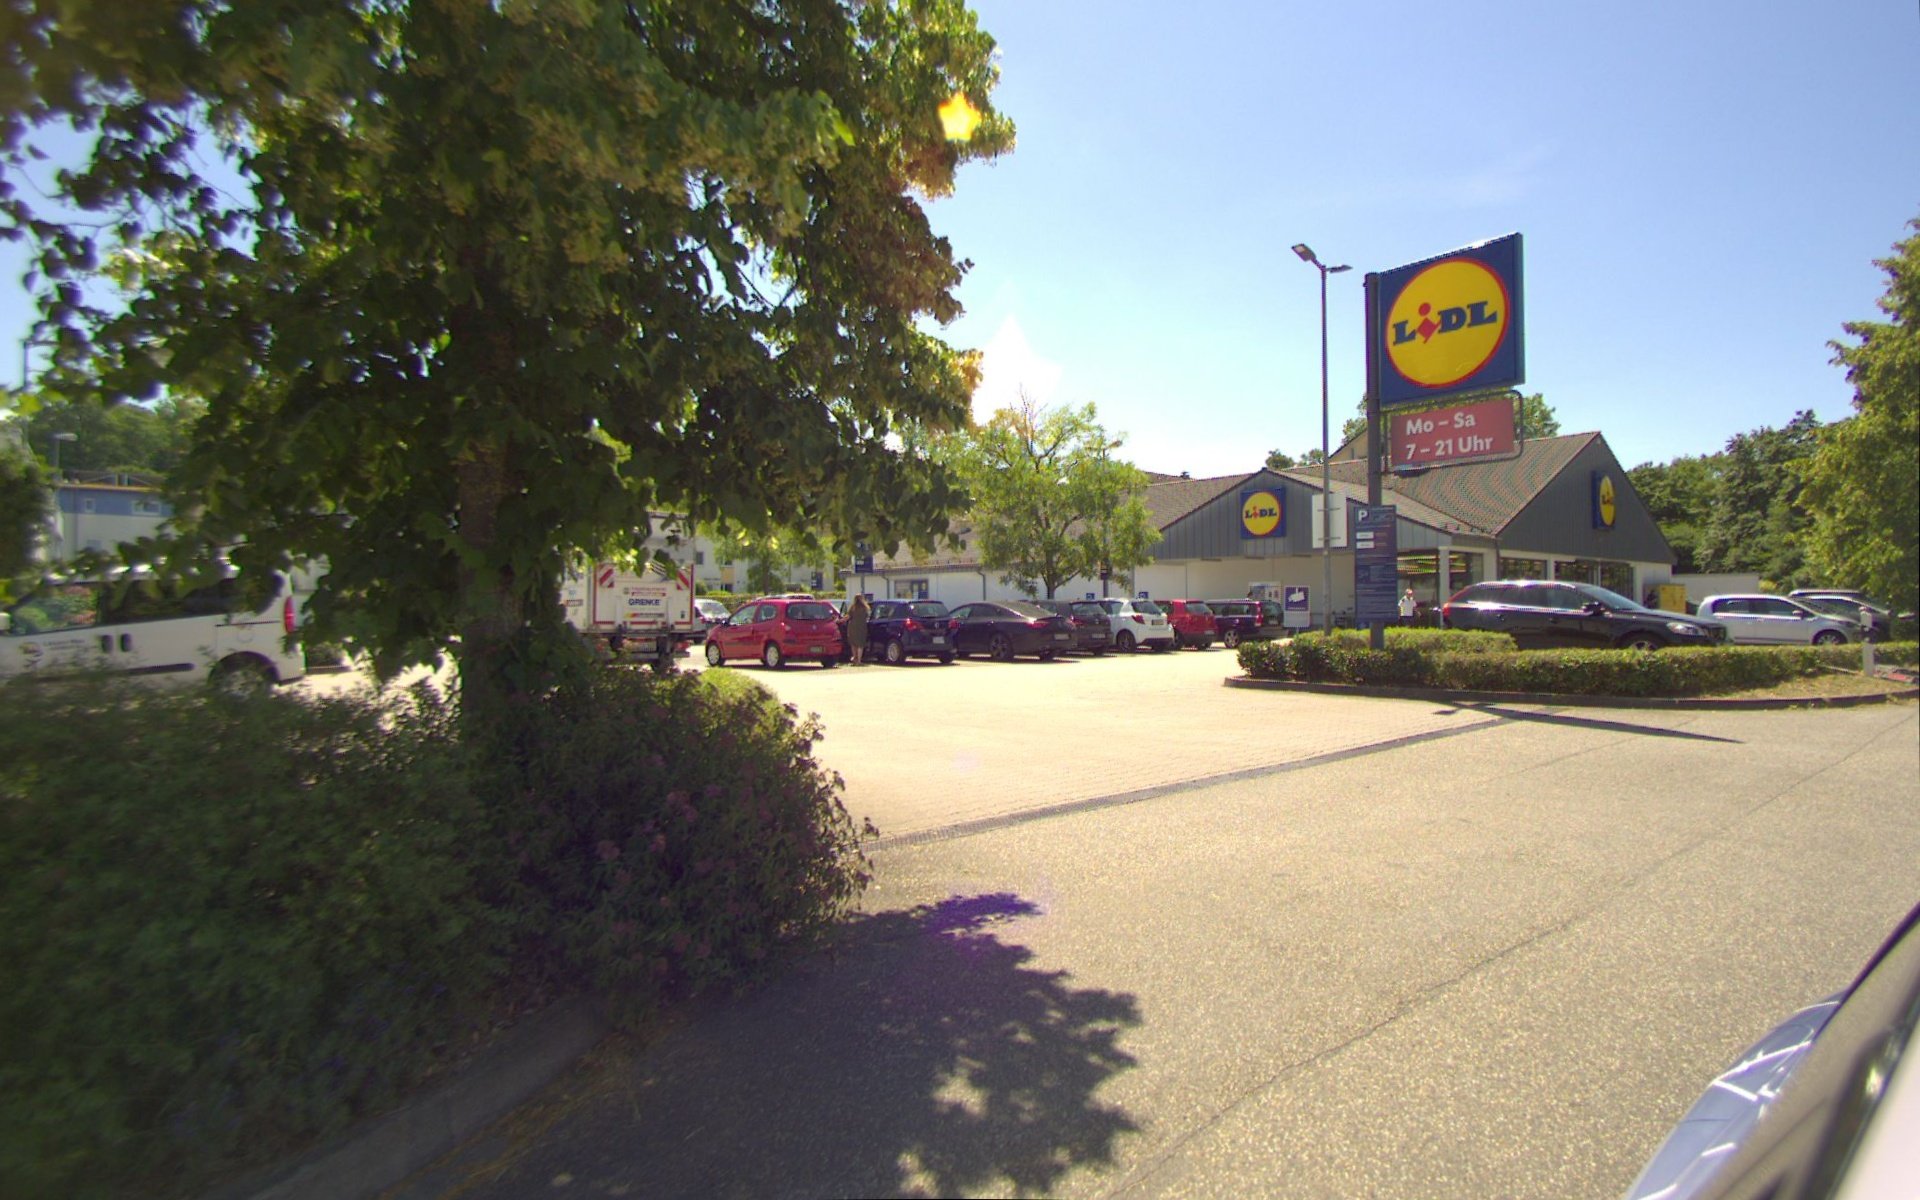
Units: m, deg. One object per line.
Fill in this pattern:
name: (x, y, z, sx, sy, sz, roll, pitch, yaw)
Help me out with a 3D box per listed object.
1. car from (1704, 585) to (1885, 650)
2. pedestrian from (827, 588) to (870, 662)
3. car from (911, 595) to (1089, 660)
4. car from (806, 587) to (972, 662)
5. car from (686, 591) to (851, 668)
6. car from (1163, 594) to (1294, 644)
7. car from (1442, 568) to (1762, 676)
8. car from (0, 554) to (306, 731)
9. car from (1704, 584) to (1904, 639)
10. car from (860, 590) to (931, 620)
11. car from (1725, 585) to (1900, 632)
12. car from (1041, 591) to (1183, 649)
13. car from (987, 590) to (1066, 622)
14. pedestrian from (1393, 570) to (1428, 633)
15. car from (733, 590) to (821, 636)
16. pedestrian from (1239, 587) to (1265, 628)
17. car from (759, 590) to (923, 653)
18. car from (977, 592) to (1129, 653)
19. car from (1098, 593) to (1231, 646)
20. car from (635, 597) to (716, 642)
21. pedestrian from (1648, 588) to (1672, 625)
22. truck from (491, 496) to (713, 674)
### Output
car: (21.260, 0.406, 25.869, 1.555, 1.525, 3.402, 1, 0, -42)
pedestrian: (-2.503, 0.549, 22.646, 0.694, 1.612, 0.679, 0, 0, -39)
car: (0.880, 0.598, 24.527, 1.870, 1.409, 4.247, 0, 1, -43)
car: (-1.726, 0.535, 23.643, 1.777, 1.583, 4.025, -1, 0, -42)
car: (-4.303, 0.613, 22.409, 3.987, 1.551, 1.625, -1, -1, 45)
car: (8.205, 0.554, 31.117, 1.642, 1.435, 3.603, 0, -1, -40)
car: (11.371, 0.343, 18.231, 1.859, 1.689, 4.526, 0, 0, -37)
car: (-10.448, 0.451, 12.103, 4.187, 1.914, 1.706, -1, 0, -44)
car: (24.429, 0.295, 29.411, 1.779, 1.499, 4.315, 0, 0, -43)
car: (-3.850, 0.261, 60.554, 3.935, 1.705, 1.995, 0, 1, -45)
car: (28.114, 0.262, 33.468, 1.920, 1.429, 4.234, 0, 0, -43)
car: (4.229, 0.530, 28.558, 1.786, 1.523, 3.729, 0, -1, -40)
car: (3.509, 0.288, 52.996, 3.935, 1.571, 1.995, 0, 1, -45)
pedestrian: (14.777, 0.042, 33.194, 0.790, 2.039, 0.783, 0, 0, -42)
car: (-7.622, 0.493, 41.979, 1.746, 1.813, 3.991, 0, 0, -43)
pedestrian: (11.361, 0.268, 39.335, 0.549, 1.571, 0.802, 0, 0, -42)
car: (-3.655, 0.571, 30.215, 1.967, 1.662, 5.518, 0, 0, -43)
car: (2.381, 0.558, 26.810, 1.697, 1.496, 4.026, 0, 0, -39)
car: (6.036, 0.545, 30.148, 1.715, 1.476, 3.603, 0, -1, -40)
car: (-10.748, 0.676, 38.065, 1.717, 1.579, 3.762, 0, 0, -37)
pedestrian: (33.531, 0.309, 48.469, 0.685, 1.763, 0.763, 0, 0, -38)
truck: (-7.261, -0.223, 20.015, 2.378, 2.986, 5.947, 0, -1, -38)
